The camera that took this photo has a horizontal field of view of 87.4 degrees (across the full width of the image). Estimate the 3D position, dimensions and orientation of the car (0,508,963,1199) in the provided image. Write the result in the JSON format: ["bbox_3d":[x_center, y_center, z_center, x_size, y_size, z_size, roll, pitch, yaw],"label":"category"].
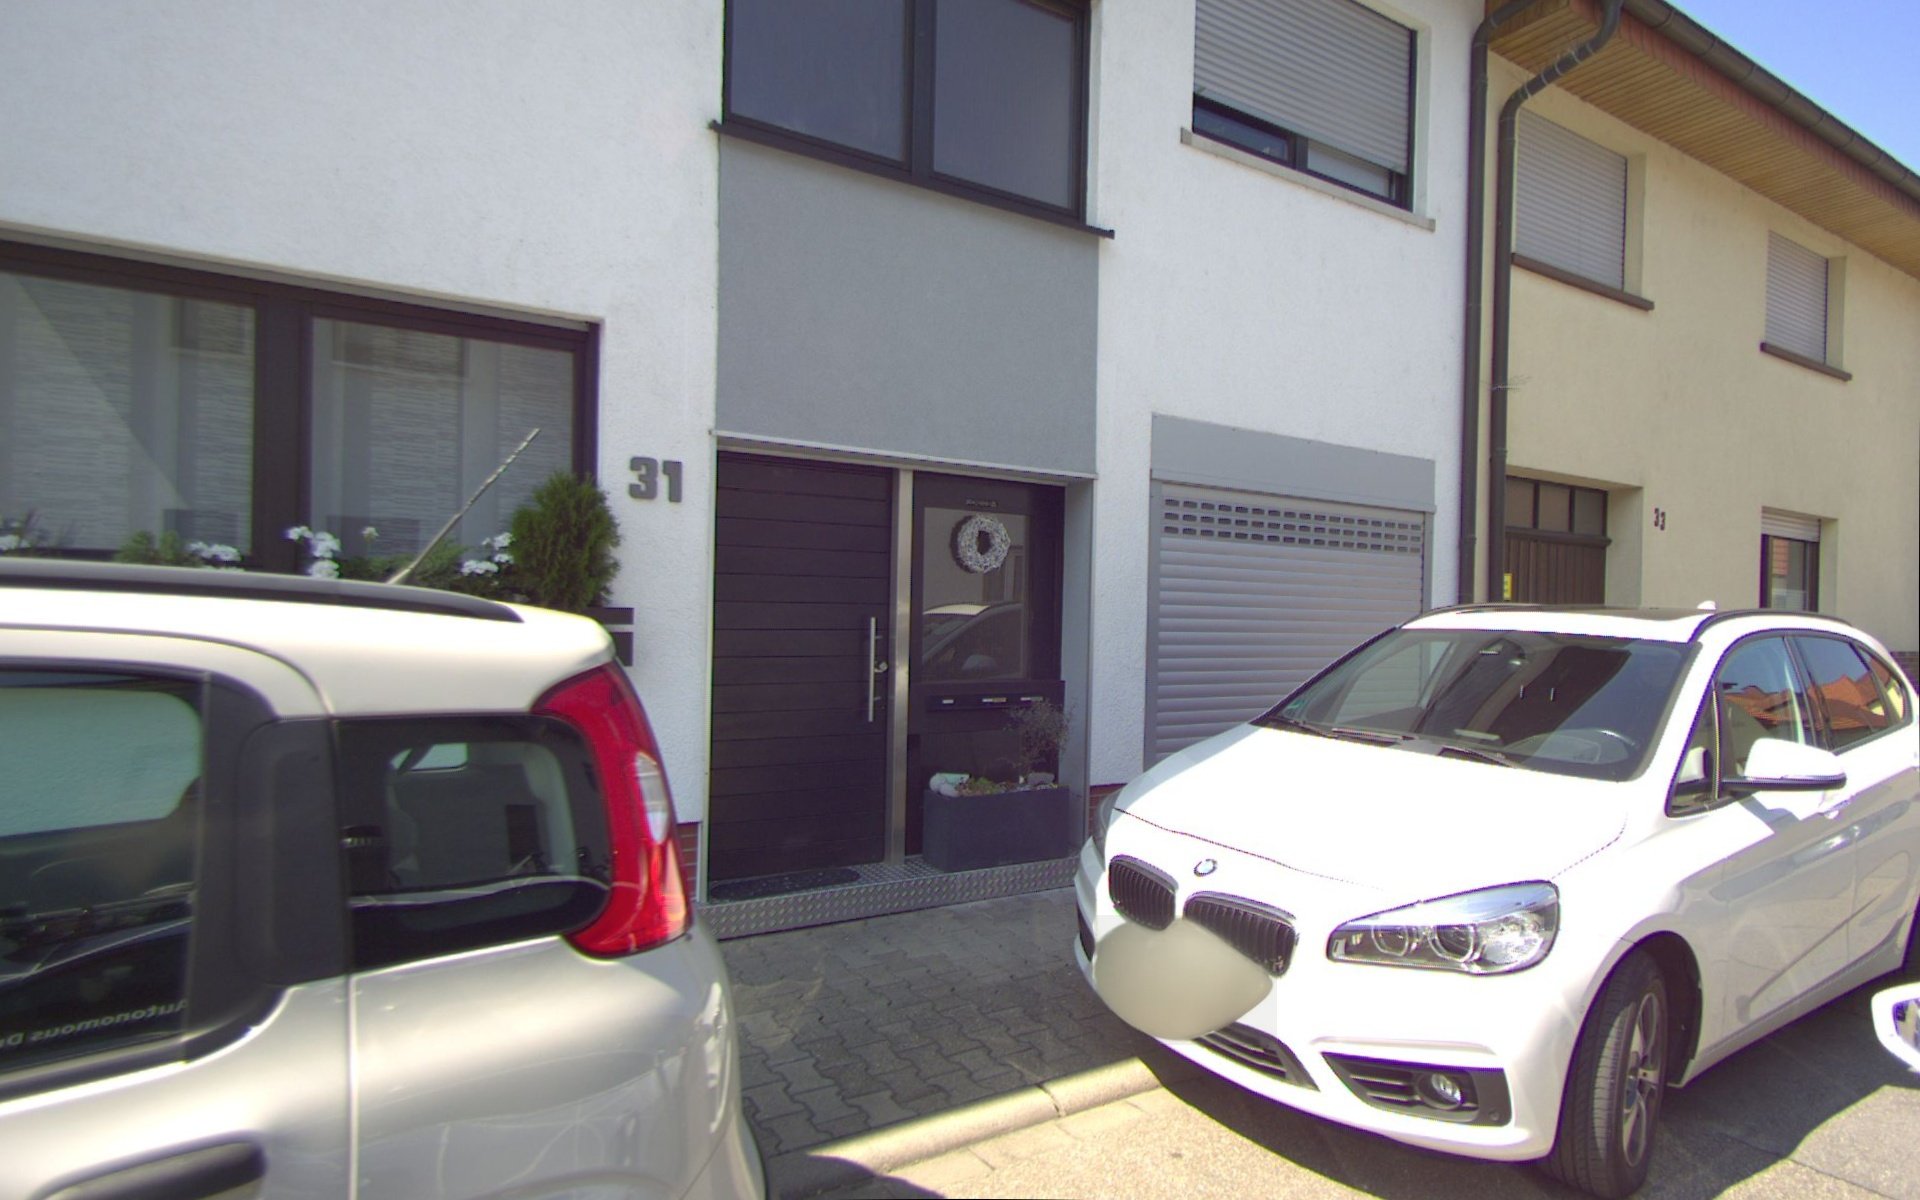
[{"bbox_3d":[-1.967,0.686,1.197,3.650,1.562,1.653,2,-2,-34],"label":"car"}]

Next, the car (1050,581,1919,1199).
[{"bbox_3d":[2.387,0.790,3.924,3.901,1.569,1.653,1,-1,-34],"label":"car"}]
